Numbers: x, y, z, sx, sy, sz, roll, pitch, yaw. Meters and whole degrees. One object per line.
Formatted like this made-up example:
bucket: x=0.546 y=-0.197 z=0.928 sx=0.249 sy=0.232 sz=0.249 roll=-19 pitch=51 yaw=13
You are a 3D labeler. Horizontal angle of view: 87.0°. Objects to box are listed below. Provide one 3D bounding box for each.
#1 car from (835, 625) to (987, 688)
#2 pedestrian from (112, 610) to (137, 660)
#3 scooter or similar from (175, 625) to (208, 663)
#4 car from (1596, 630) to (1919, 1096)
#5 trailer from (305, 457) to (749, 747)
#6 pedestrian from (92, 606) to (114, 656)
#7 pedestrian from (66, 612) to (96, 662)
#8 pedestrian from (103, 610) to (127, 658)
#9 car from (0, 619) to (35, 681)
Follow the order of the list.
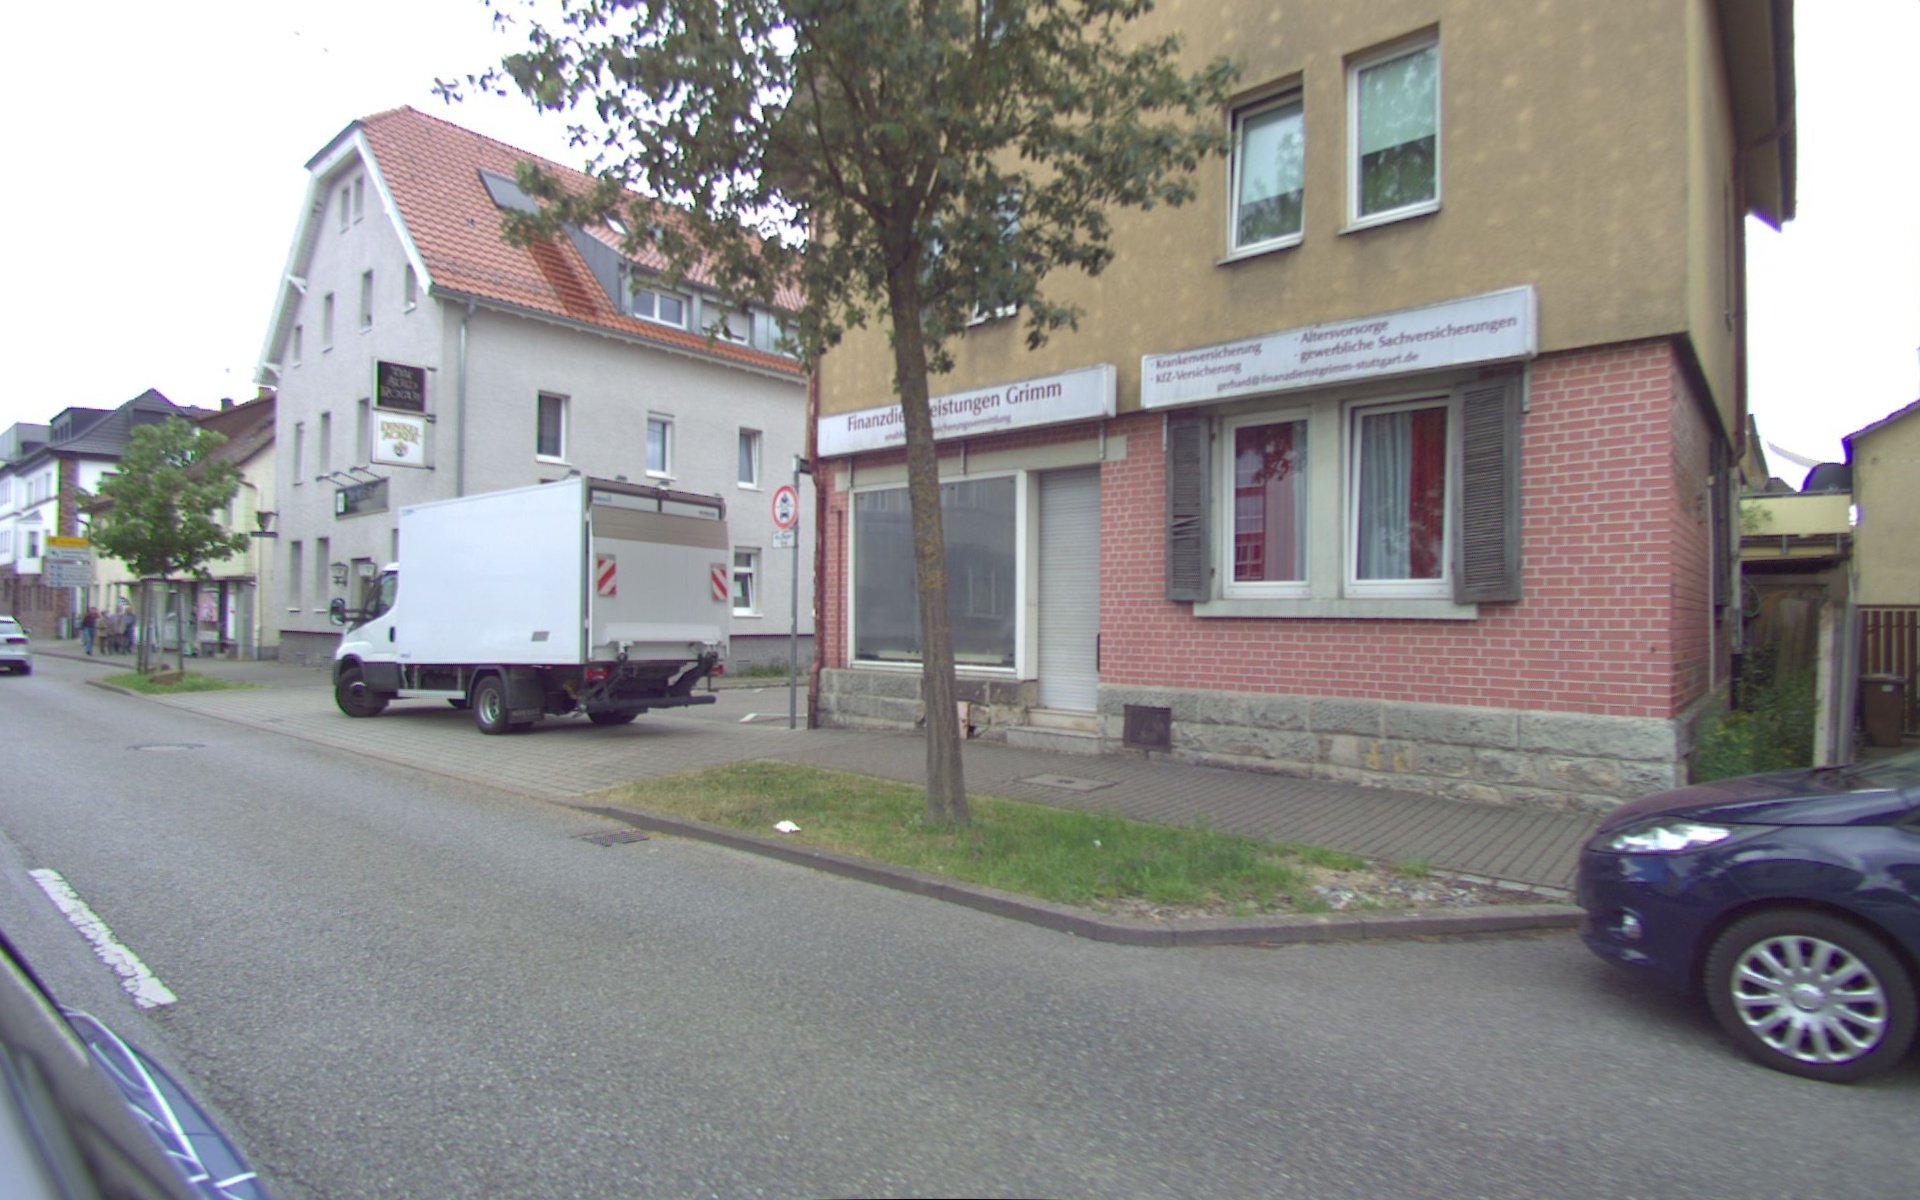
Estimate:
car: x=-1.254 y=1.472 z=27.192 sx=1.780 sy=1.492 sz=3.943 roll=-4 pitch=-3 yaw=43
pedestrian: x=-29.698 y=1.229 z=35.965 sx=0.648 sy=1.750 sz=0.547 roll=-1 pitch=-2 yaw=41
scooter or similar: x=-25.139 y=1.421 z=33.100 sx=1.721 sy=1.179 sz=0.522 roll=0 pitch=0 yaw=41
car: x=4.368 y=0.851 z=3.085 sx=3.929 sy=1.435 sz=1.665 roll=0 pitch=-3 yaw=41
trailer: x=-6.386 y=0.135 z=14.403 sx=7.120 sy=3.244 sz=2.481 roll=-2 pitch=-3 yaw=36
pedestrian: x=-30.071 y=1.087 z=35.507 sx=0.648 sy=1.750 sz=0.491 roll=-1 pitch=-2 yaw=41
pedestrian: x=-30.966 y=1.287 z=35.640 sx=0.717 sy=1.750 sz=0.670 roll=-1 pitch=-2 yaw=41
pedestrian: x=-30.773 y=1.236 z=36.837 sx=0.648 sy=1.750 sz=0.547 roll=-1 pitch=-2 yaw=41
car: x=-24.690 y=1.209 z=25.262 sx=4.541 sy=1.444 sz=1.823 roll=0 pitch=-2 yaw=41
